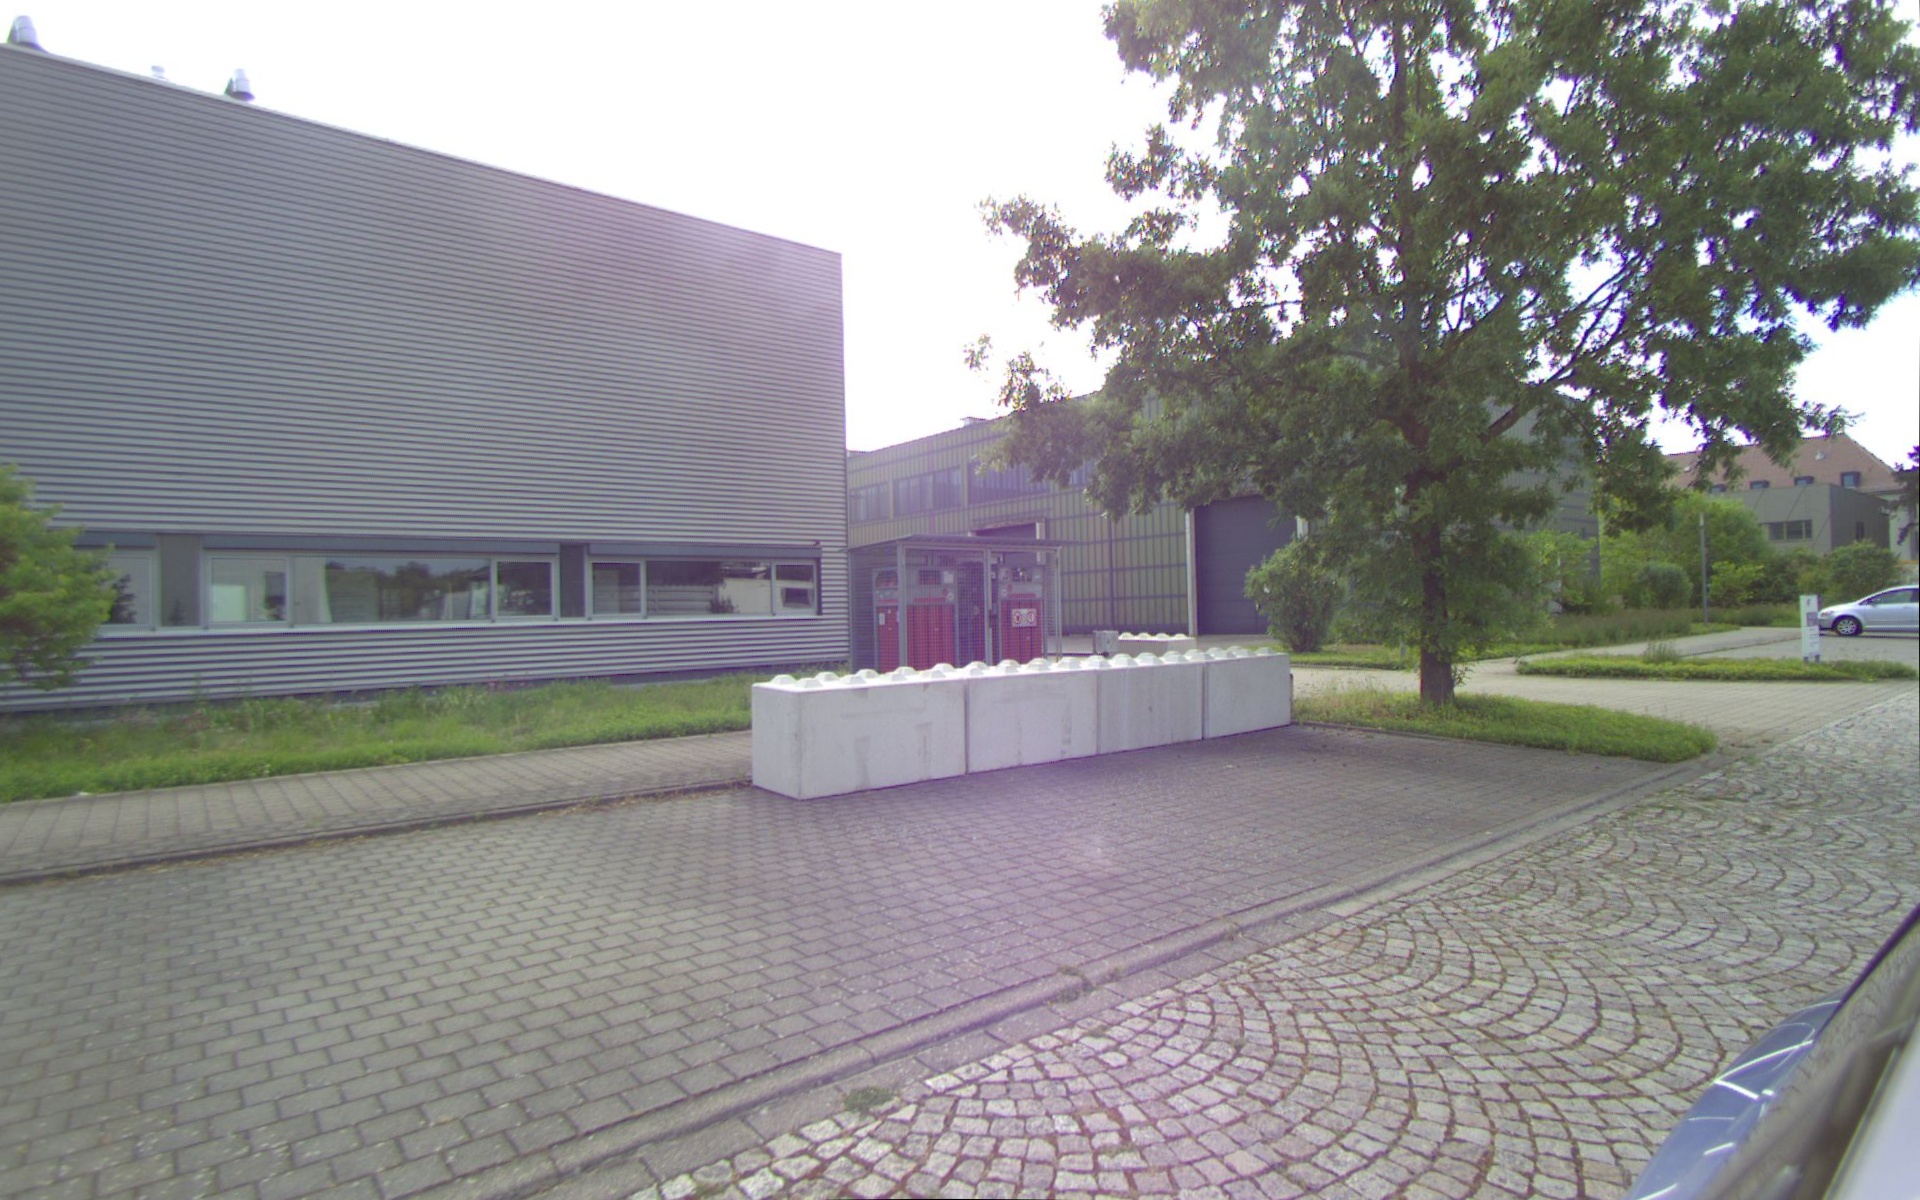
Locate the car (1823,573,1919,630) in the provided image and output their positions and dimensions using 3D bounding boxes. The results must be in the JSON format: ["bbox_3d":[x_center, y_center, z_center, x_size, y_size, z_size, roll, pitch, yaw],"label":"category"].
[{"bbox_3d":[28.837,0.028,30.460,1.906,1.645,4.127,-2,1,-41],"label":"car"}]
